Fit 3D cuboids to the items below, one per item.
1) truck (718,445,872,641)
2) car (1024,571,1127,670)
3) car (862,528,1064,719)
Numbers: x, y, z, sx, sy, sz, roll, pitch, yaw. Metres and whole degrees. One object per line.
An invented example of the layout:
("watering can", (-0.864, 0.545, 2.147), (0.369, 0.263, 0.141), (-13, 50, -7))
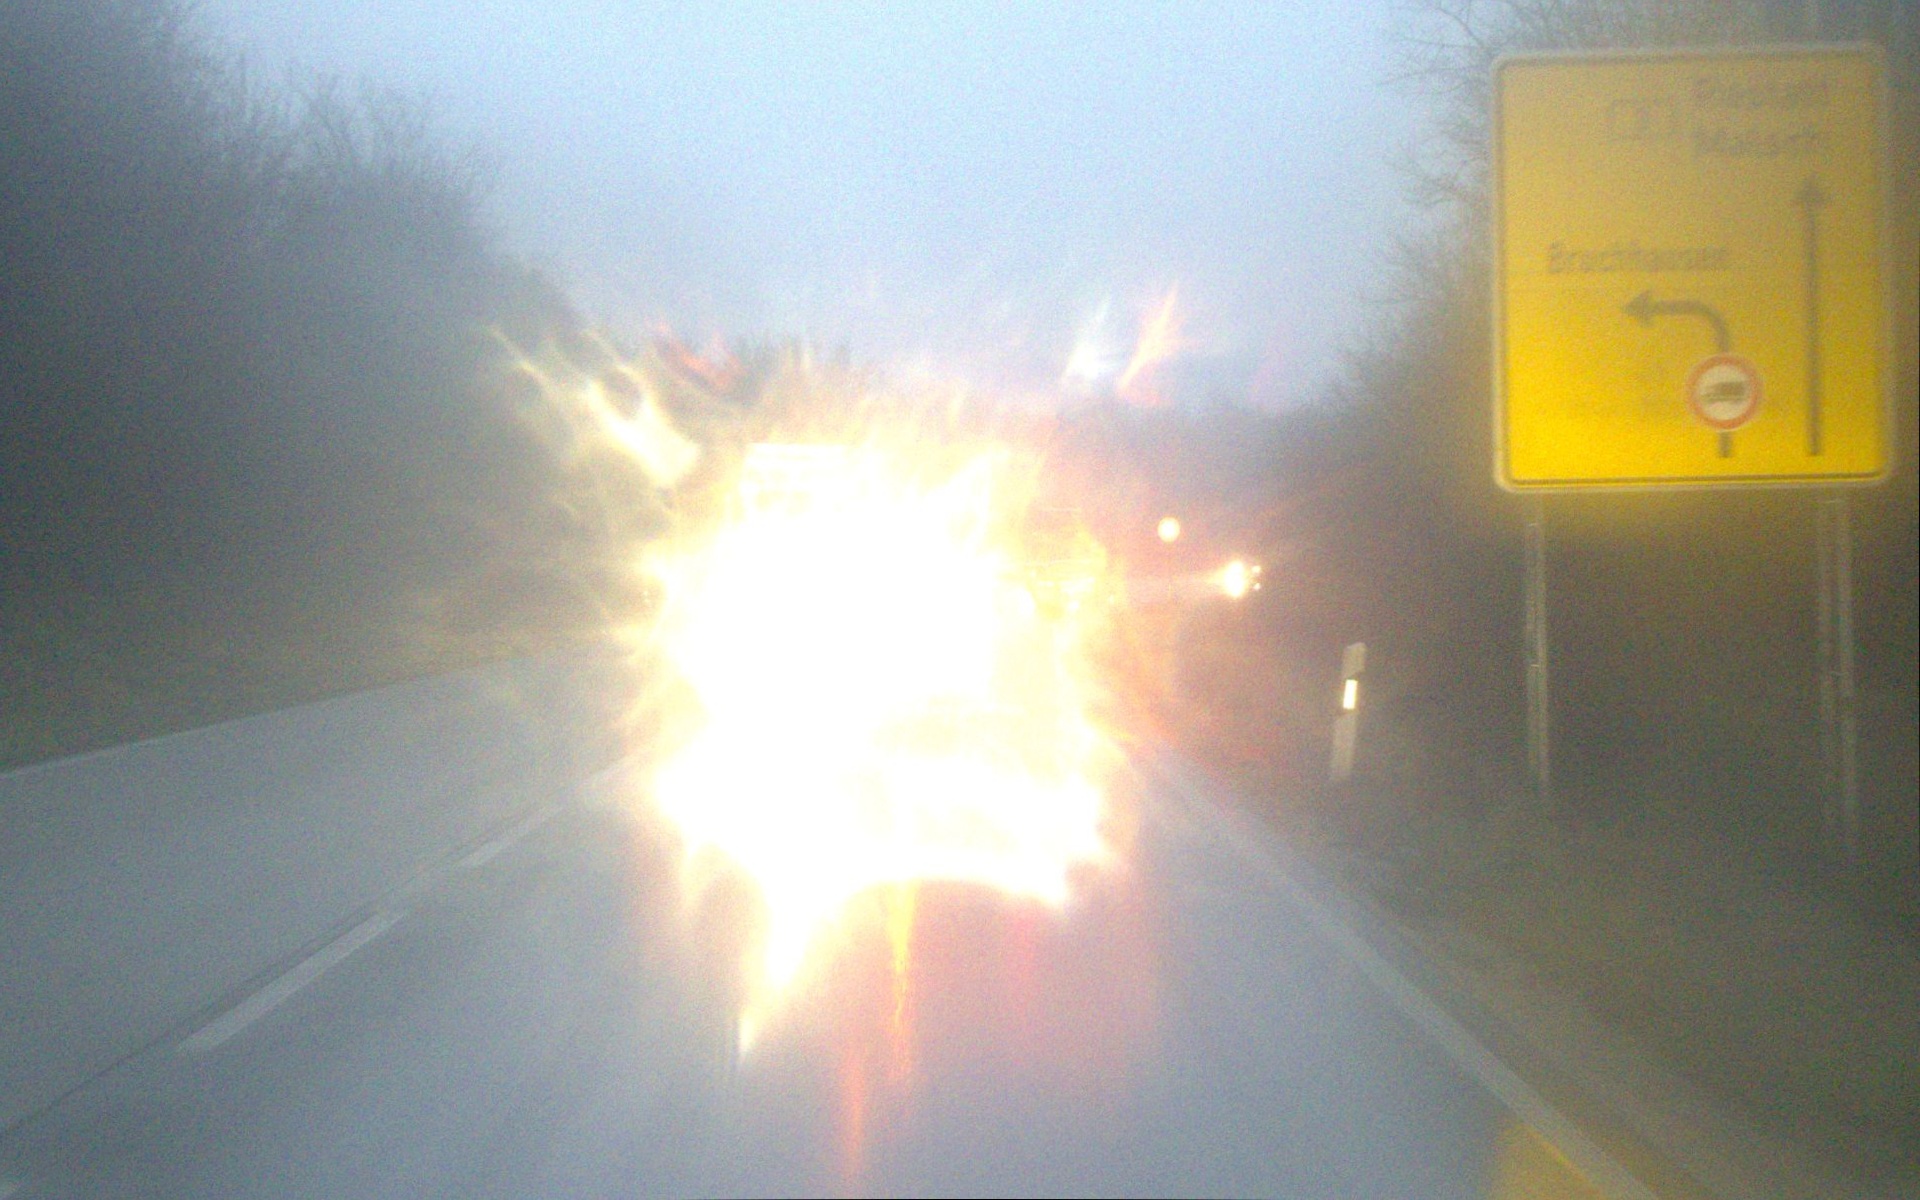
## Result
("truck", (-3.580, -1.272, 76.240), (2.799, 4.112, 7.199), (-1, 1, 2))
("car", (2.502, 0.405, 73.591), (1.994, 2.007, 3.999), (-1, 1, 5))
("car", (0.002, 0.171, 31.784), (1.727, 1.638, 4.000), (-1, 1, -1))
